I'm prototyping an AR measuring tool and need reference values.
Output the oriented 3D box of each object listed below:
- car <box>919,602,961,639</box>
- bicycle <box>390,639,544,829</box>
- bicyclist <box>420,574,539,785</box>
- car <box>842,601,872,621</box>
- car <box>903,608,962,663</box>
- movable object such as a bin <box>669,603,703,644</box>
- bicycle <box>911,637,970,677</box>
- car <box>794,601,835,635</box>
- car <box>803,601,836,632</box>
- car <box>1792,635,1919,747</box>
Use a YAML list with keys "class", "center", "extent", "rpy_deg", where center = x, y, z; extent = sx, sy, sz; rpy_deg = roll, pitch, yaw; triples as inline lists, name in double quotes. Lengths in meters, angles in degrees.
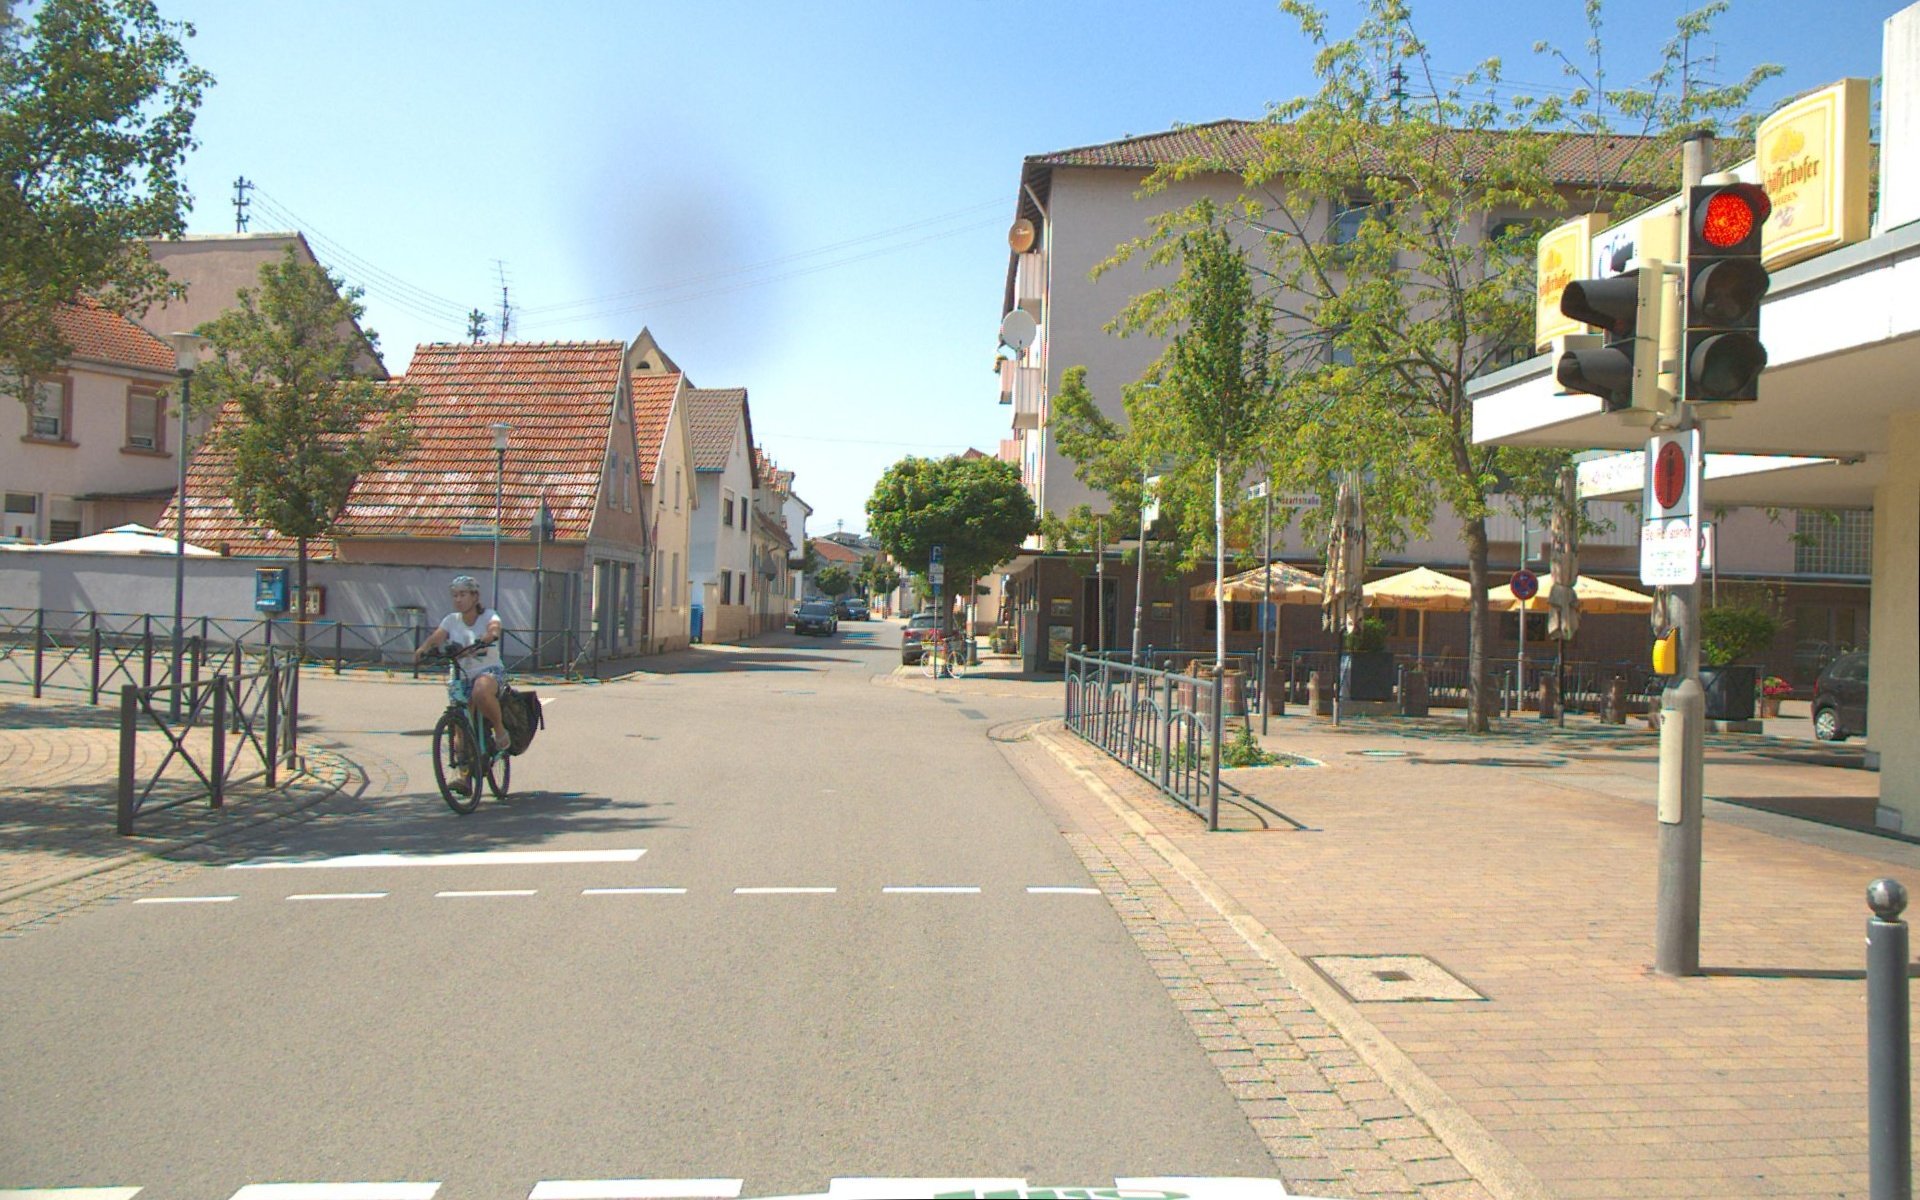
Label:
- class: "car"
  center: [-0.980, 0.995, 81.026]
  extent: [2.001, 1.718, 4.840]
  rpy_deg: [1, 0, -1]
- class: "bicycle"
  center: [-3.690, 0.959, 12.528]
  extent: [0.694, 1.274, 1.970]
  rpy_deg: [0, 0, -4]
- class: "bicyclist"
  center: [-3.672, 0.588, 12.697]
  extent: [0.701, 1.533, 0.869]
  rpy_deg: [-2, 0, -7]
- class: "car"
  center: [-8.217, 0.900, 131.555]
  extent: [1.874, 1.507, 4.832]
  rpy_deg: [1, -1, -10]
- class: "car"
  center: [-0.747, 0.990, 47.162]
  extent: [1.543, 1.479, 3.486]
  rpy_deg: [1, -1, 1]
- class: "movable object such as a bin"
  center: [-9.368, 0.806, 56.614]
  extent: [1.078, 1.389, 0.390]
  rpy_deg: [1, -1, 3]
- class: "bicycle"
  center: [-0.460, 1.320, 38.542]
  extent: [1.386, 0.913, 0.463]
  rpy_deg: [0, 0, 36]
- class: "car"
  center: [-6.845, 0.839, 78.072]
  extent: [1.629, 1.502, 4.133]
  rpy_deg: [1, 0, -1]
- class: "car"
  center: [-7.167, 0.829, 84.621]
  extent: [1.630, 1.502, 3.447]
  rpy_deg: [1, 0, -5]
- class: "car"
  center: [14.056, 1.312, 23.891]
  extent: [1.733, 1.536, 3.965]
  rpy_deg: [2, -1, -7]
